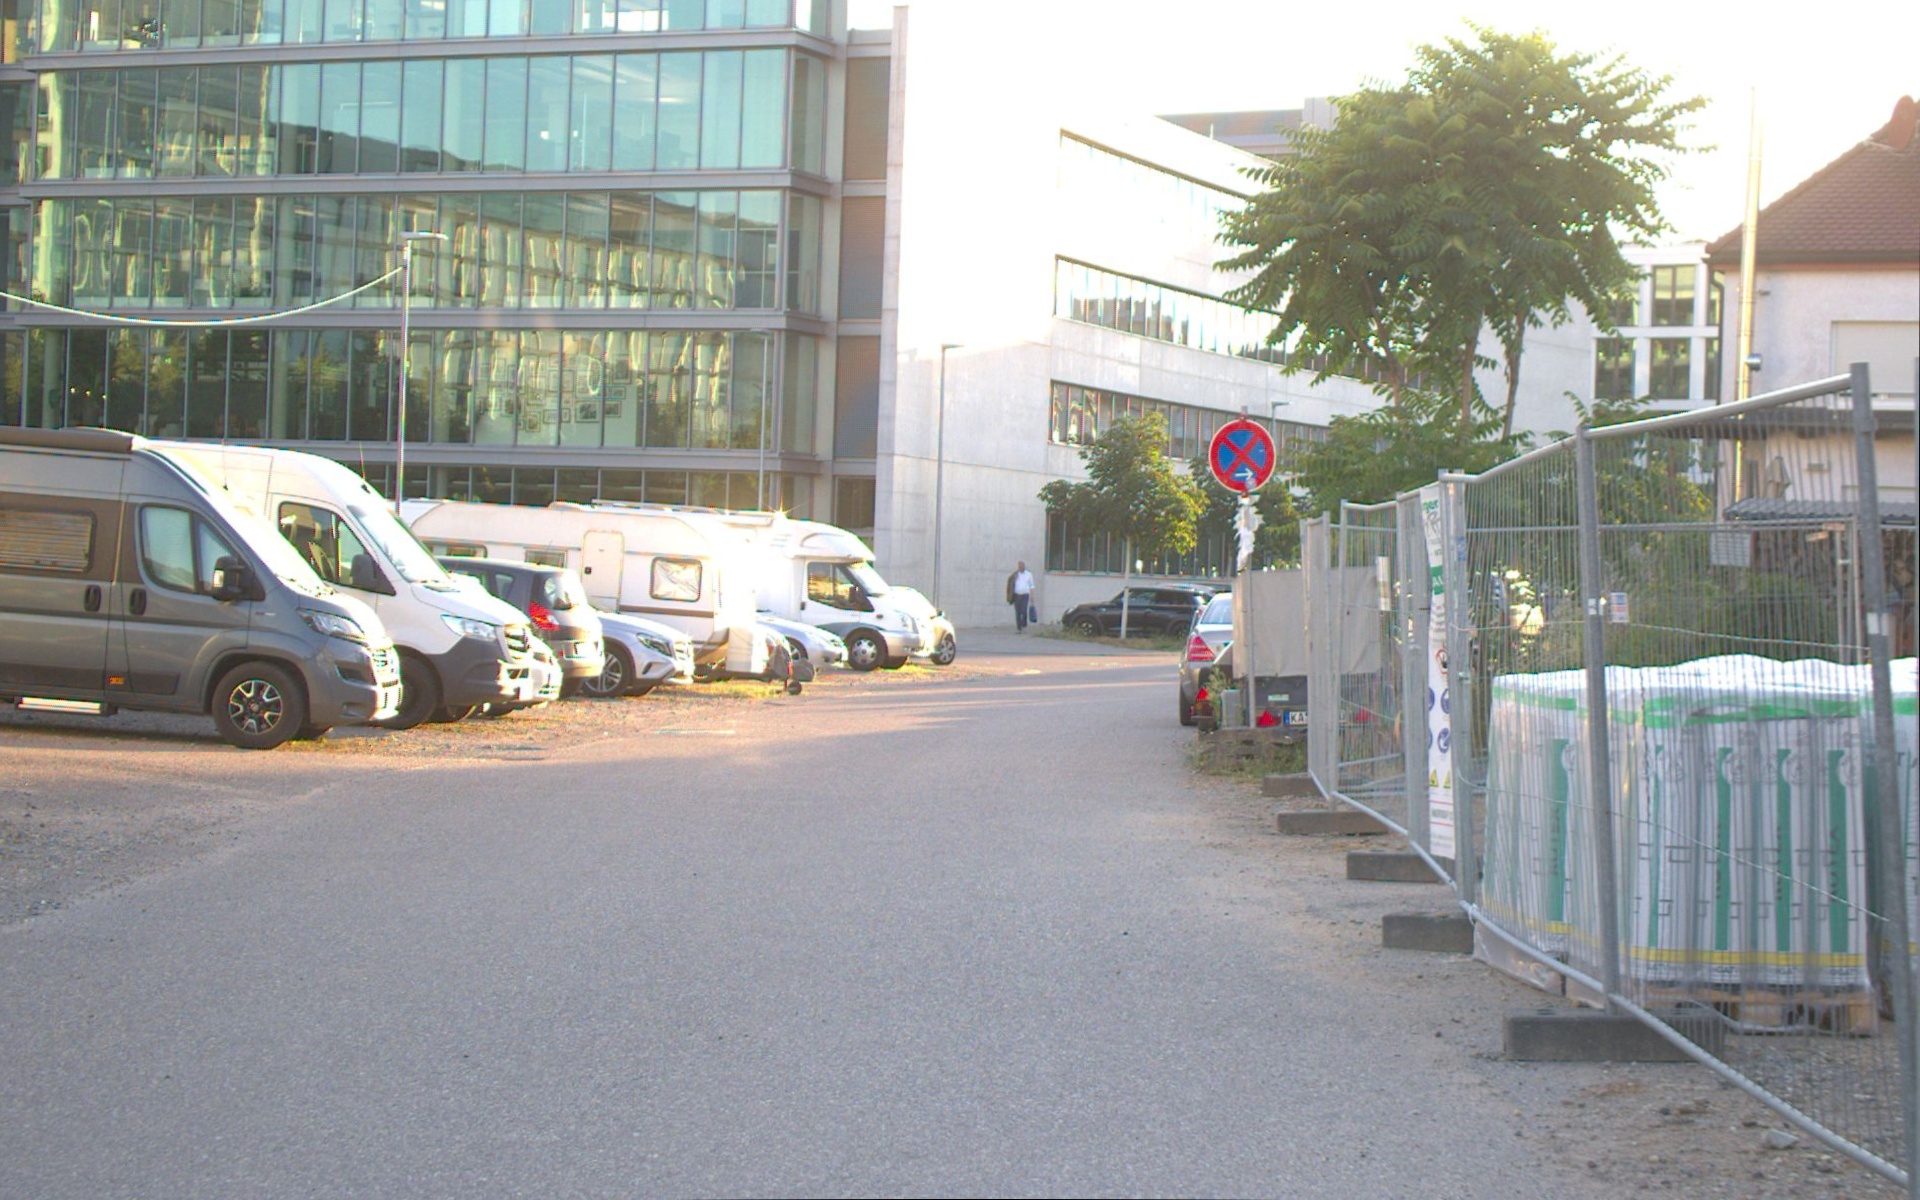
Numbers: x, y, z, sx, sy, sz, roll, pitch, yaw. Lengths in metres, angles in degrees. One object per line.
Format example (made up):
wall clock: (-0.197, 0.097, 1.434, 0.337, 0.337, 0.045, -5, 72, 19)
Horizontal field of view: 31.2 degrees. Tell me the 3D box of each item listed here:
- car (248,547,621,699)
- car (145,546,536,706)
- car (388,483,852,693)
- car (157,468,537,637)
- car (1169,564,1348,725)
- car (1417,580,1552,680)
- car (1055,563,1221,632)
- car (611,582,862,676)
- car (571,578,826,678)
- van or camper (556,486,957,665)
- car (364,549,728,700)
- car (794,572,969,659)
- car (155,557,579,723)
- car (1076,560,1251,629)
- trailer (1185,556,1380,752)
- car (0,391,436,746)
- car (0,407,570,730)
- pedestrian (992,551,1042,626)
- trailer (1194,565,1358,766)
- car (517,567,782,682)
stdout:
car: (-6.195, 0.257, 40.636, 3.928, 1.585, 1.747, 3, 1, 14)
car: (-6.926, 0.296, 38.668, 3.926, 1.585, 1.747, 2, -1, 6)
car: (-4.752, -0.164, 48.408, 5.891, 2.525, 2.410, 4, -1, 13)
car: (-10.952, -0.863, 61.458, 6.247, 2.664, 2.221, 3, 1, 16)
car: (3.482, 0.464, 39.356, 1.806, 1.719, 4.927, 0, 0, 8)
car: (11.614, 0.617, 75.873, 2.067, 2.088, 4.867, 1, 1, 19)
car: (4.430, -0.078, 85.369, 3.737, 1.477, 1.768, 3, 2, 17)
car: (-3.686, 0.466, 57.027, 3.809, 1.324, 1.692, 3, 1, 9)
car: (-4.145, 0.431, 54.797, 3.727, 1.362, 1.705, 3, 1, 8)
van or camper: (-3.662, -0.462, 62.375, 6.744, 2.888, 2.407, 3, 1, 12)
car: (-5.219, 0.288, 43.479, 4.129, 1.585, 1.747, 4, 1, 14)
car: (-1.450, 0.312, 65.623, 1.688, 1.514, 4.356, 3, 0, 22)
car: (-6.109, 0.402, 35.639, 3.926, 1.502, 1.789, 2, 0, 7)
car: (5.226, -0.156, 88.040, 4.089, 1.523, 1.845, 3, 1, 16)
trailer: (3.228, 0.474, 33.717, 1.731, 1.771, 4.935, 0, 0, 7)
car: (-7.883, -0.355, 29.242, 6.387, 2.704, 2.113, 4, -1, -1)
car: (-6.924, -0.341, 33.291, 5.826, 2.703, 2.050, 4, 1, 4)
pedestrian: (1.426, -0.287, 86.127, 0.899, 1.844, 0.856, 0, 1, -36)
trailer: (2.708, 0.533, 29.811, 1.250, 1.659, 2.803, 0, 0, 2)
car: (-4.671, 0.357, 51.991, 3.629, 1.514, 1.705, 3, 1, 8)
